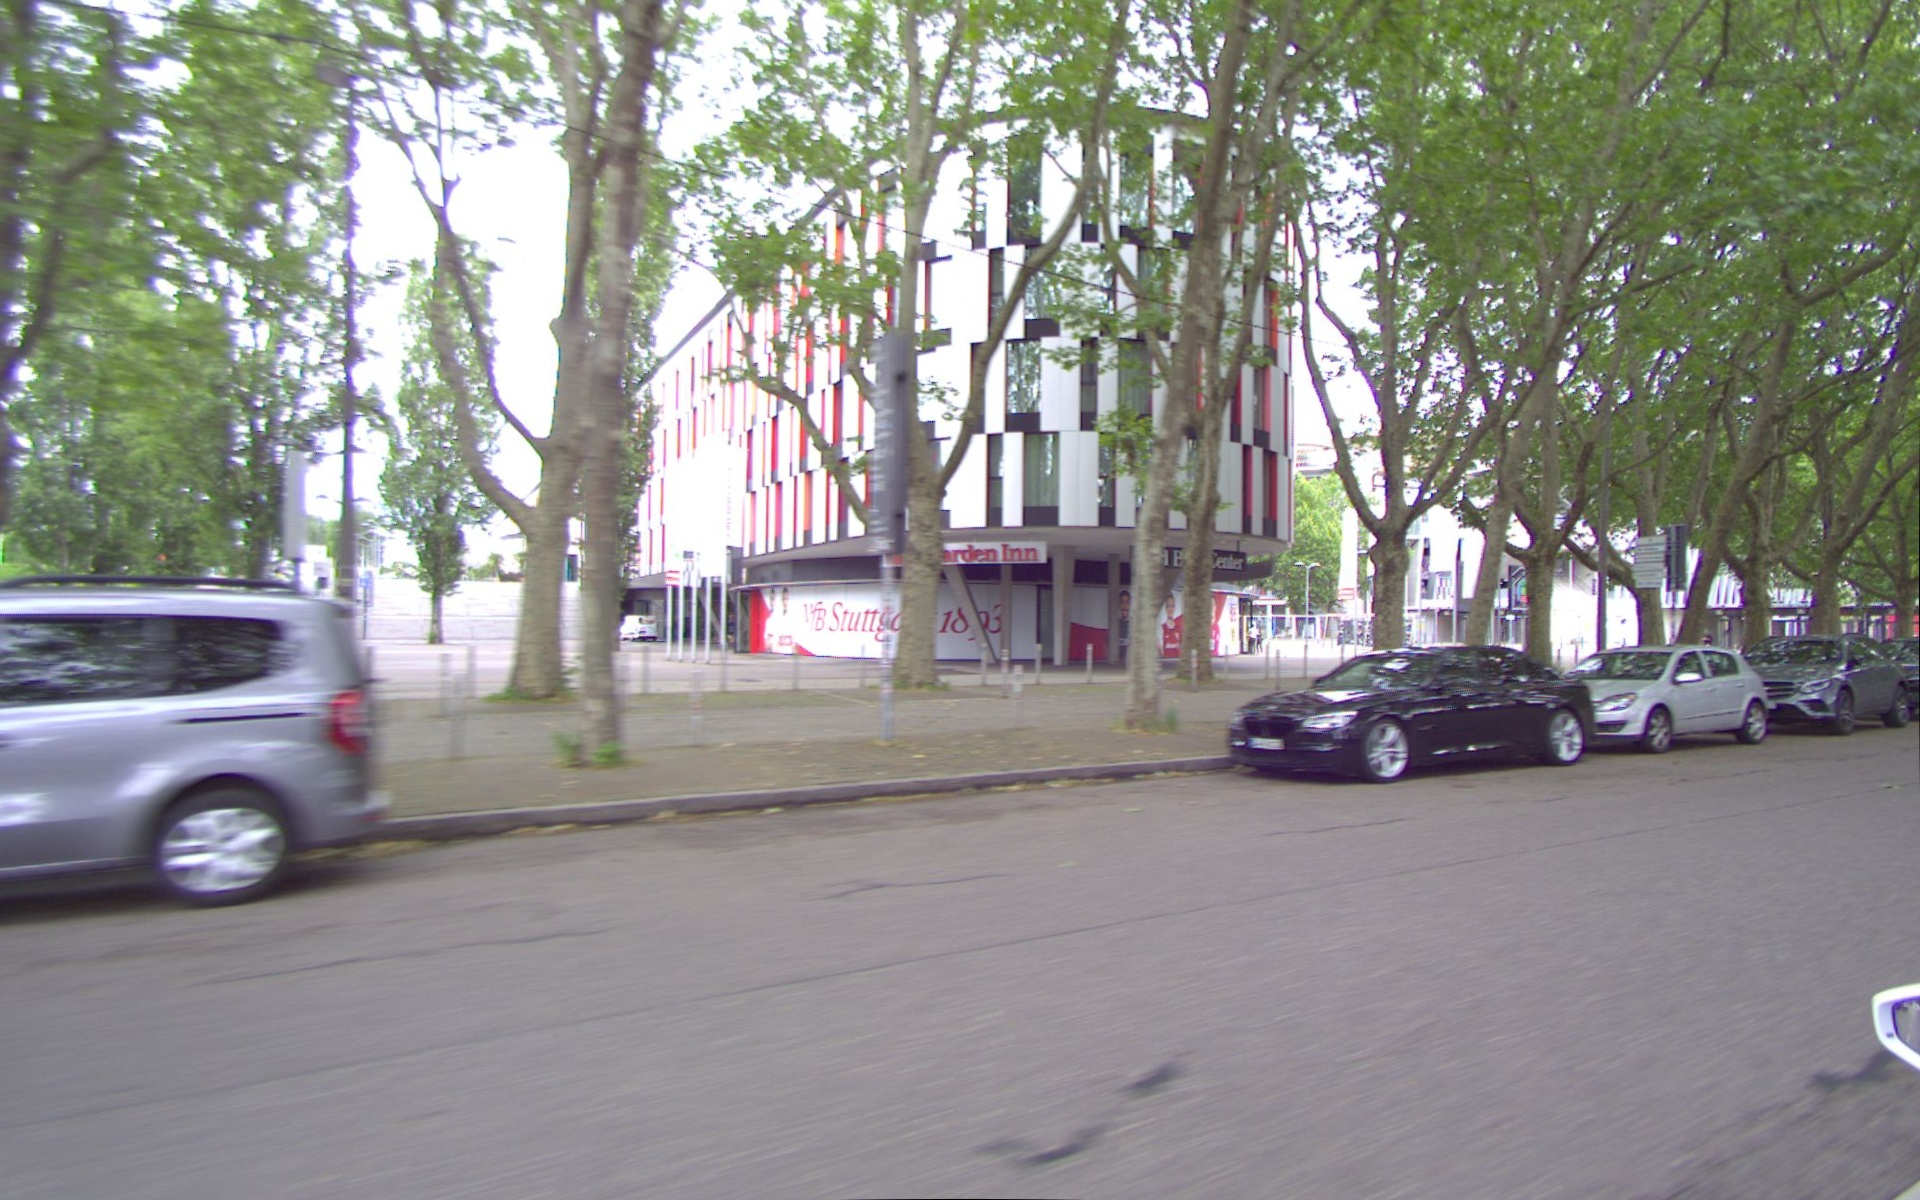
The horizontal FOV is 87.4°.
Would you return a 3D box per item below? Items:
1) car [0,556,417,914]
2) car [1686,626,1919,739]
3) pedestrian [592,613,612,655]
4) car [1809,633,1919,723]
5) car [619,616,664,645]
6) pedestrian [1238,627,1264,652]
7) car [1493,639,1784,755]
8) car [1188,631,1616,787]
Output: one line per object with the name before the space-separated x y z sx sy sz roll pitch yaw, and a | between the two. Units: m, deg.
car | -5.729 0.733 5.722 4.559 1.818 1.887 2 -5 -31
car | 14.756 1.393 17.477 4.598 1.740 1.859 2 -5 -33
pedestrian | -14.968 1.418 41.992 0.684 1.712 0.640 1 -1 -28
car | 19.715 1.558 20.543 4.867 1.664 1.930 1 -5 -29
car | -25.280 2.379 79.654 2.284 2.040 5.142 -4 1 -29
pedestrian | 17.223 2.334 59.392 1.098 1.481 1.038 2 -2 -32
car | 9.933 1.353 14.658 4.180 1.474 1.825 2 -5 -30
car | 5.403 1.171 12.140 5.082 1.550 2.075 1 -3 -29
